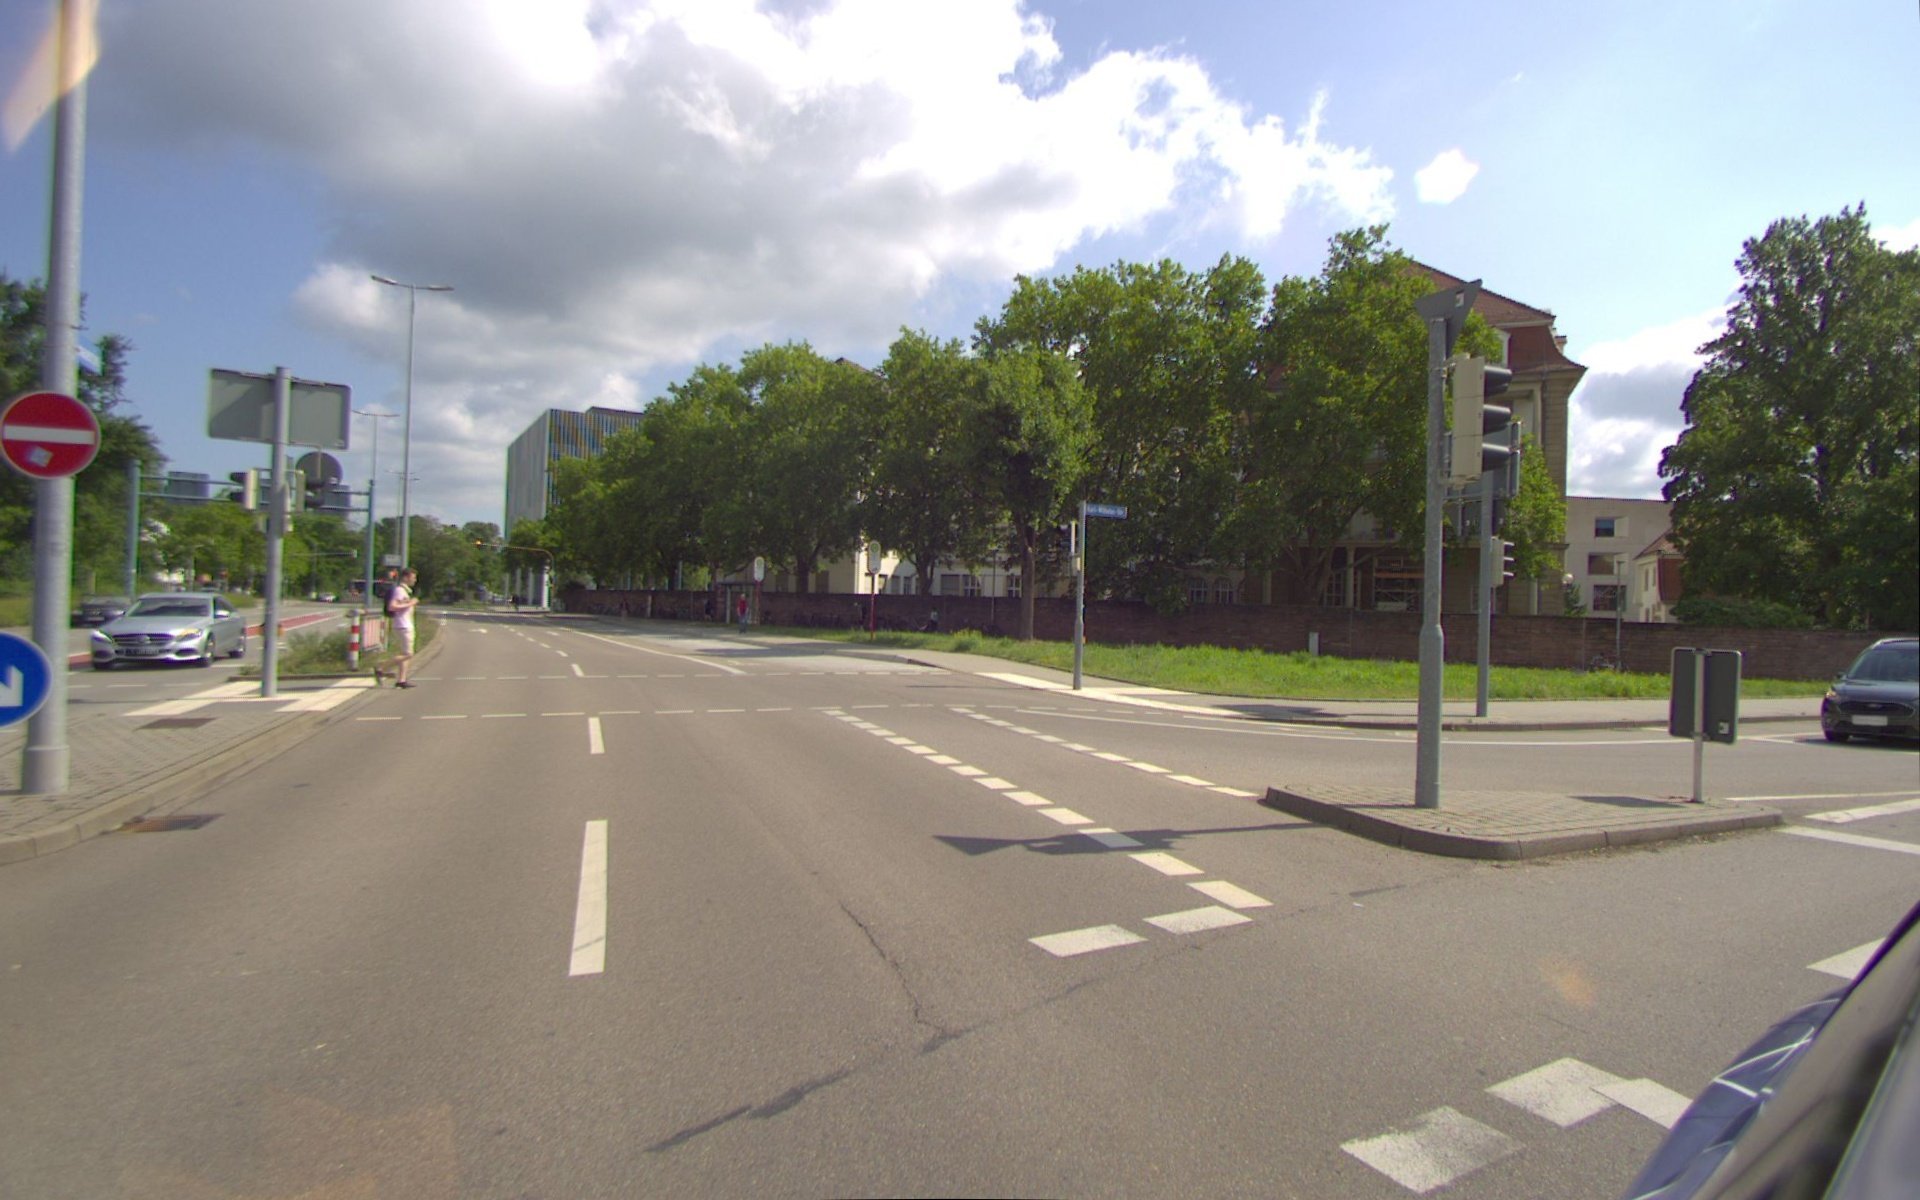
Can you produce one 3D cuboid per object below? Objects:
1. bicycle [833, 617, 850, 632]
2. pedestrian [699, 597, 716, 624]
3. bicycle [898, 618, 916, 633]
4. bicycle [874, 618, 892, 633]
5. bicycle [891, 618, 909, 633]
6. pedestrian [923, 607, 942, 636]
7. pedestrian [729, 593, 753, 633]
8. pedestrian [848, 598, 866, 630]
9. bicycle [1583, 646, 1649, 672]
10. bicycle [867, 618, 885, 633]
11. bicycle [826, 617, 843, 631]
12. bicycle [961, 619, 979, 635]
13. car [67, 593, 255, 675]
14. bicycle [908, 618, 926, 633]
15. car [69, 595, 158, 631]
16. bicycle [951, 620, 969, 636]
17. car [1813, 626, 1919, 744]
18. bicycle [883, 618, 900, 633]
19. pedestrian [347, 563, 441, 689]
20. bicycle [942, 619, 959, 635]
[{"bbox_3d":[-7.216,1.475,61.623,0.480,0.859,0.960,1,-1,38],"label":"bicycle"},{"bbox_3d":[-17.217,0.688,68.938,0.869,1.803,0.771,2,-1,-30],"label":"pedestrian"},{"bbox_3d":[-3.064,1.457,58.258,0.480,0.859,0.960,1,-1,38],"label":"bicycle"},{"bbox_3d":[-4.523,1.489,59.453,0.480,0.859,0.960,1,-1,38],"label":"bicycle"},{"bbox_3d":[-3.469,1.469,58.652,0.480,0.859,0.960,1,-1,38],"label":"bicycle"},{"bbox_3d":[-1.525,1.186,55.952,0.720,1.553,0.717,1,-1,36],"label":"pedestrian"},{"bbox_3d":[-10.093,0.598,46.610,0.735,1.802,0.965,2,-1,-37],"label":"pedestrian"},{"bbox_3d":[-5.875,0.805,57.902,0.739,1.745,0.654,2,-1,41],"label":"pedestrian"},{"bbox_3d":[26.732,2.403,41.274,2.030,0.871,0.855,2,1,14],"label":"bicycle"},{"bbox_3d":[-4.966,1.497,59.783,0.480,0.859,0.960,1,-1,38],"label":"bicycle"},{"bbox_3d":[-7.683,1.483,61.961,0.480,0.859,0.960,1,-1,38],"label":"bicycle"},{"bbox_3d":[0.552,1.497,55.415,0.480,0.859,0.960,1,-1,38],"label":"bicycle"},{"bbox_3d":[-16.177,0.587,20.792,2.020,1.460,4.788,0,1,-26],"label":"car"},{"bbox_3d":[-2.463,1.448,57.836,0.480,0.859,0.960,1,-1,38],"label":"bicycle"},{"bbox_3d":[-33.635,0.480,40.340,1.761,1.289,4.007,2,0,-26],"label":"car"},{"bbox_3d":[-0.024,1.526,55.778,0.480,0.859,0.960,1,-1,38],"label":"bicycle"},{"bbox_3d":[16.572,1.401,17.037,4.576,1.808,1.856,3,-2,-29],"label":"car"},{"bbox_3d":[-4.006,1.479,59.062,0.480,0.859,0.960,1,-1,38],"label":"bicycle"},{"bbox_3d":[-8.799,0.411,15.737,1.158,1.881,0.699,2,-3,-36],"label":"pedestrian"},{"bbox_3d":[-0.525,1.513,56.166,0.480,0.859,0.960,1,-1,38],"label":"bicycle"}]
